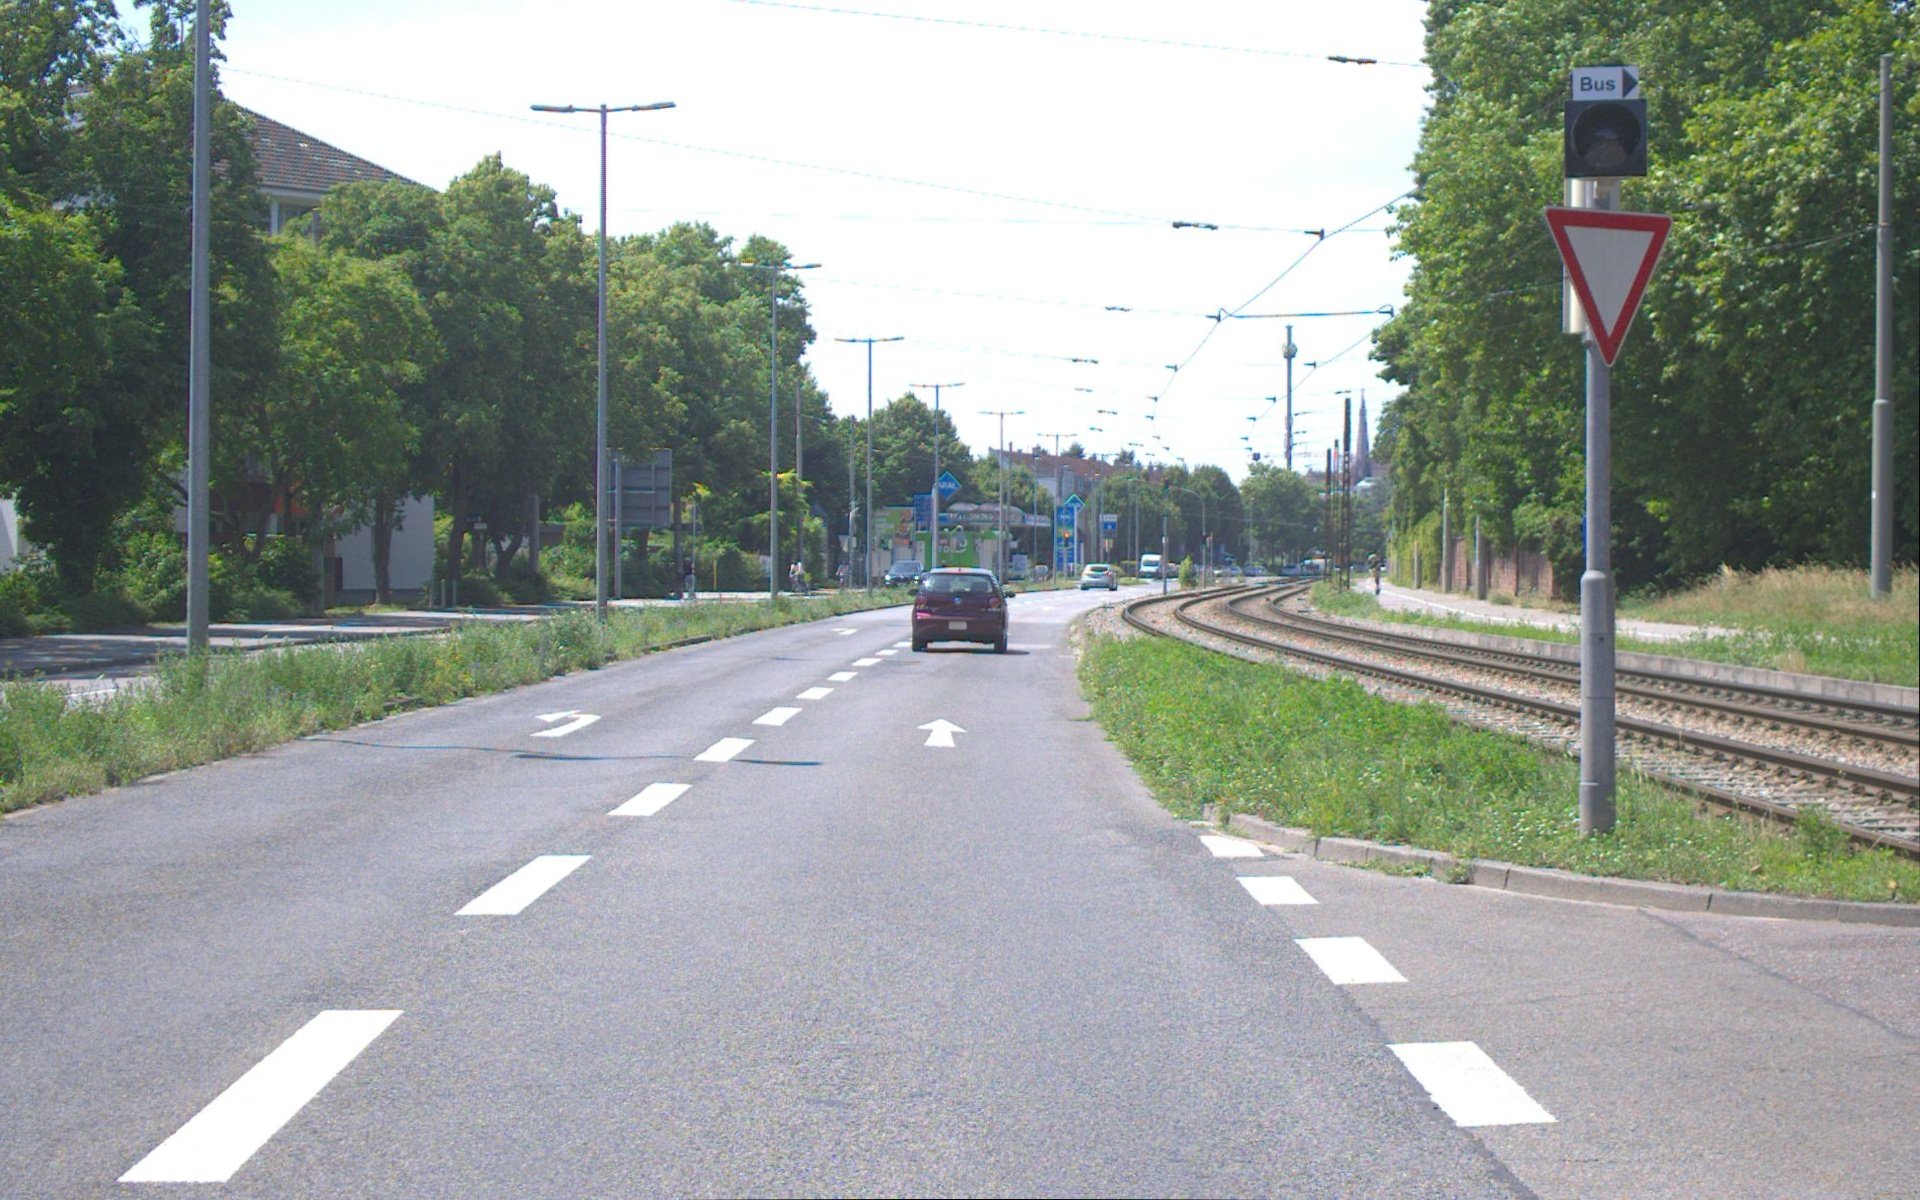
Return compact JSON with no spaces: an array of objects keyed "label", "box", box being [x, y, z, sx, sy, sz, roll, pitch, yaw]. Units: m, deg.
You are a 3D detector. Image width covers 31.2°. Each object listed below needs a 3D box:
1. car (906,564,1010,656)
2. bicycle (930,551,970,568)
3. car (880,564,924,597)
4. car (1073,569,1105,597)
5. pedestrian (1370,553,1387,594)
[{"label":"car","box":[-0.046,0.146,60.545,1.703,1.472,3.716,3,1,0]},{"label":"bicycle","box":[-0.678,-2.724,229.978,2.549,1.034,1.088,2,0,-7]},{"label":"car","box":[-2.885,-0.978,171.764,1.923,1.620,4.756,-1,0,3]},{"label":"car","box":[7.204,-0.971,192.755,1.703,1.475,3.716,2,0,2]},{"label":"pedestrian","box":[17.550,-1.121,144.154,0.662,1.720,0.816,0,1,6]}]
